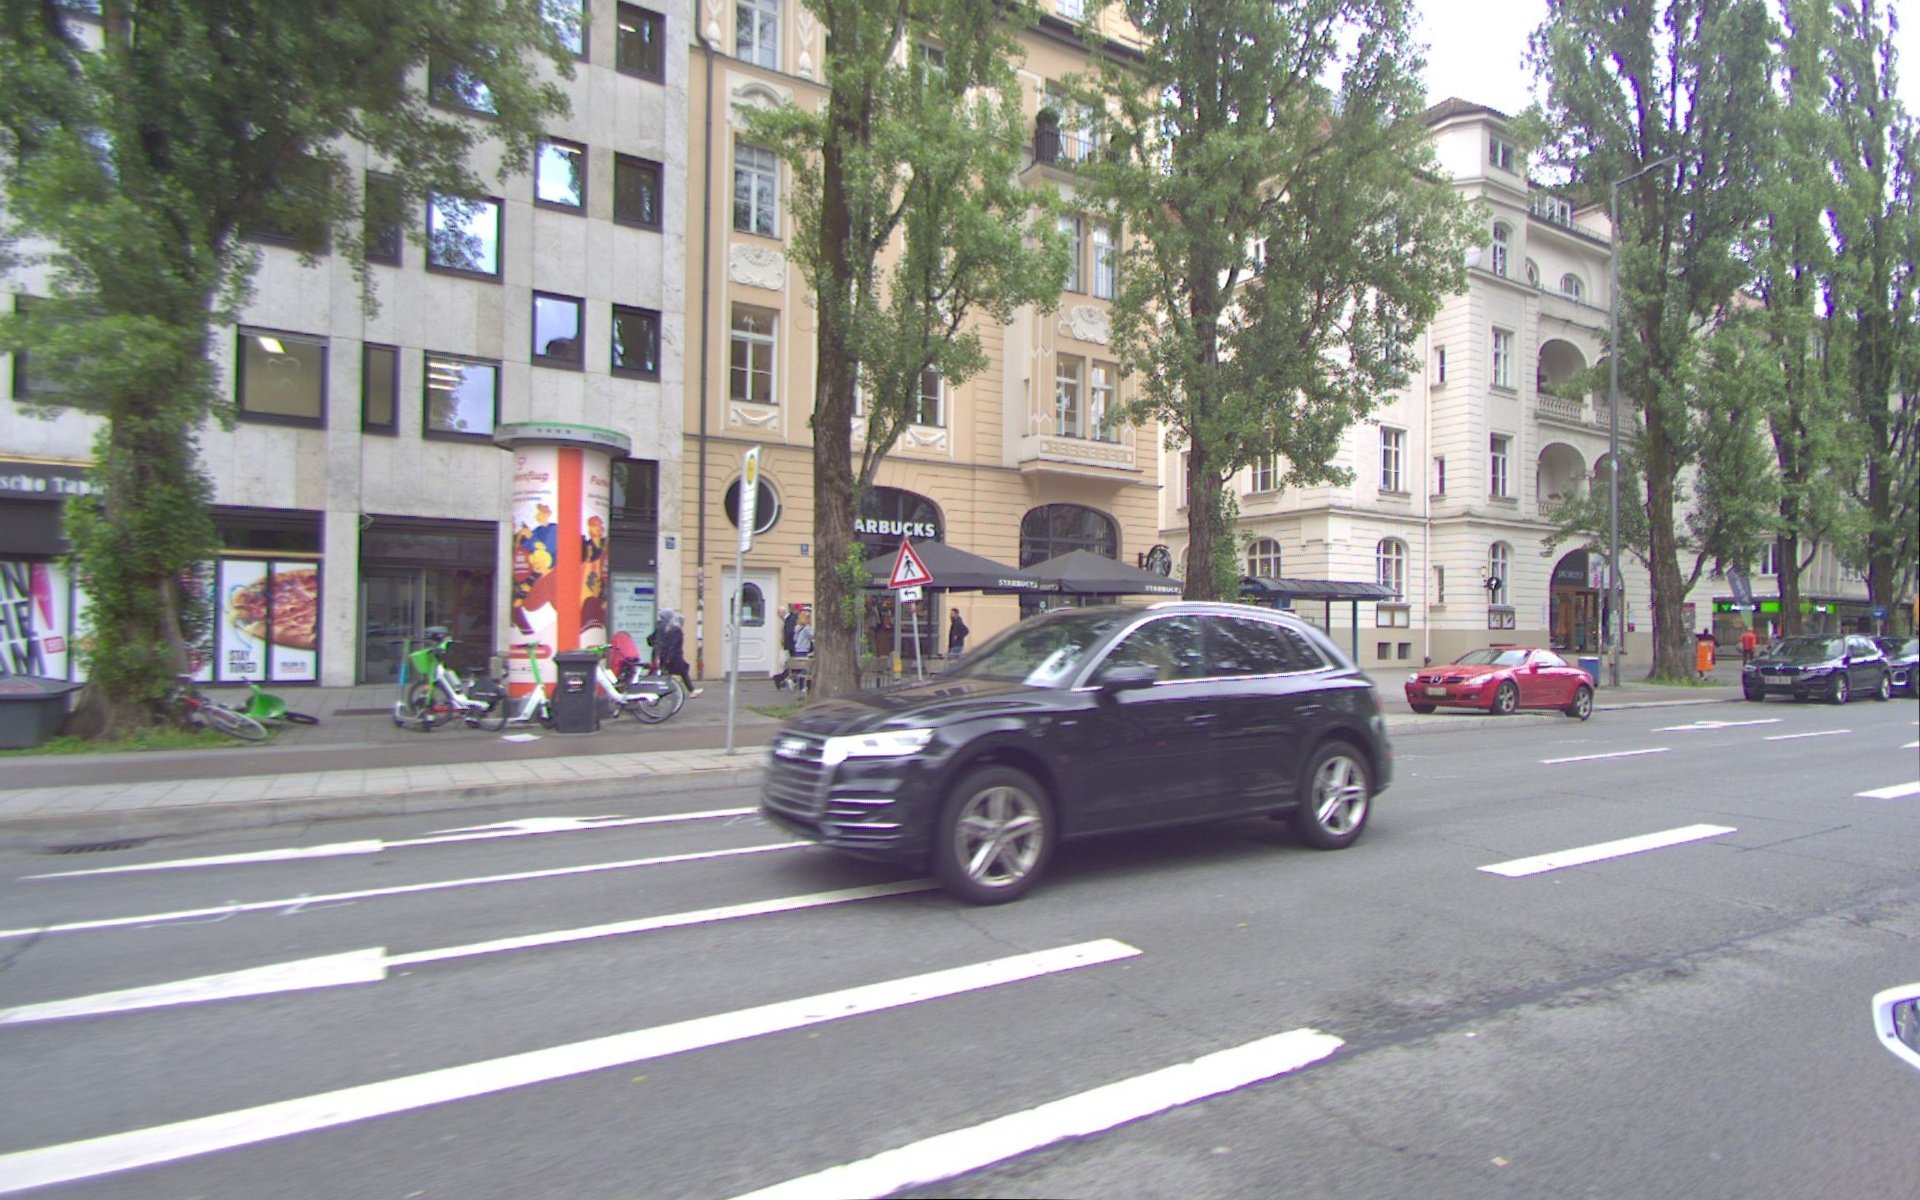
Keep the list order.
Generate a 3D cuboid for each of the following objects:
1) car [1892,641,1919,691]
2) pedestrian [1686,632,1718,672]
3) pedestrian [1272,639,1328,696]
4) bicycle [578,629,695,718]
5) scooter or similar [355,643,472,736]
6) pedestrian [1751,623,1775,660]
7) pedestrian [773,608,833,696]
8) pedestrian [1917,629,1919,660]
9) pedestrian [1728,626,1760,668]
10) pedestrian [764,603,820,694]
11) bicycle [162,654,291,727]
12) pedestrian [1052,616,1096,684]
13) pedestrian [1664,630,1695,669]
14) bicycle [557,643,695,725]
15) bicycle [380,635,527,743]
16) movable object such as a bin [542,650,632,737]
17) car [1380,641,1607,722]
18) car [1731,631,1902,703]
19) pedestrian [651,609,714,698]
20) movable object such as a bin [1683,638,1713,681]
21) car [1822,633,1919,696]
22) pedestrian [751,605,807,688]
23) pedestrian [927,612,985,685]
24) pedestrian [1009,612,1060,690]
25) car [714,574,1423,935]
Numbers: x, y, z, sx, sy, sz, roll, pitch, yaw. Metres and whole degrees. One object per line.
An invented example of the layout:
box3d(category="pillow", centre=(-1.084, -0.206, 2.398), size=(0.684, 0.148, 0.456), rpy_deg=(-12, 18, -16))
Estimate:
box3d(category="car", centre=(29.926, 1.972, 30.285), size=(4.640, 1.442, 1.674), rpy_deg=(2, -4, -34))
box3d(category="pedestrian", centre=(29.554, 2.070, 40.012), size=(0.795, 1.558, 0.764), rpy_deg=(2, 0, -31))
box3d(category="pedestrian", centre=(7.916, 1.558, 23.396), size=(0.748, 1.273, 0.957), rpy_deg=(1, 0, -29))
box3d(category="bicycle", centre=(-5.139, 1.139, 15.916), size=(1.919, 1.318, 0.584), rpy_deg=(0, -1, 29))
box3d(category="scooter or similar", centre=(-7.077, 1.142, 12.995), size=(1.531, 1.128, 0.389), rpy_deg=(0, -1, 20))
box3d(category="pedestrian", centre=(37.634, 1.947, 47.084), size=(0.817, 1.744, 0.622), rpy_deg=(1, -1, -31))
box3d(category="pedestrian", centre=(-3.166, 1.025, 20.234), size=(0.966, 1.704, 0.728), rpy_deg=(1, 0, -31))
box3d(category="pedestrian", centre=(56.018, 2.579, 58.005), size=(1.134, 1.767, 0.848), rpy_deg=(1, -1, -30))
box3d(category="pedestrian", centre=(32.101, 1.902, 41.122), size=(0.941, 1.695, 0.730), rpy_deg=(1, -1, -31))
box3d(category="pedestrian", centre=(-3.495, 0.992, 20.865), size=(0.901, 1.811, 0.796), rpy_deg=(1, 1, -30))
box3d(category="bicycle", centre=(-9.308, 1.132, 12.724), size=(1.926, 0.515, 0.830), rpy_deg=(2, -22, 42))
box3d(category="pedestrian", centre=(3.047, 1.324, 26.798), size=(0.809, 1.767, 0.903), rpy_deg=(1, -1, -25))
box3d(category="pedestrian", centre=(29.129, 2.010, 40.676), size=(0.795, 1.557, 0.765), rpy_deg=(1, -2, -31))
box3d(category="bicycle", centre=(-4.771, 1.202, 14.418), size=(1.776, 1.102, 0.507), rpy_deg=(2, 0, -7))
box3d(category="bicycle", centre=(-6.788, 1.168, 13.460), size=(1.915, 1.307, 0.508), rpy_deg=(2, 0, 17))
box3d(category="movable object such as a bin", centre=(-4.941, 1.212, 13.325), size=(0.712, 1.055, 0.854), rpy_deg=(2, 0, 31))
box3d(category="car", centre=(9.923, 1.445, 18.643), size=(4.045, 1.315, 1.871), rpy_deg=(1, -2, -29))
box3d(category="car", centre=(21.309, 1.595, 24.946), size=(4.661, 1.639, 1.811), rpy_deg=(1, -2, -31))
box3d(category="pedestrian", centre=(-5.138, 0.973, 18.598), size=(0.976, 1.588, 0.748), rpy_deg=(2, 0, -26))
box3d(category="movable object such as a bin", centre=(23.569, 1.888, 32.075), size=(0.579, 1.333, 0.602), rpy_deg=(1, -1, -30))
box3d(category="car", centre=(25.712, 1.726, 27.539), size=(4.577, 1.615, 1.794), rpy_deg=(1, -2, -31))
box3d(category="pedestrian", centre=(-3.966, 1.005, 22.013), size=(0.943, 1.767, 0.840), rpy_deg=(2, 0, -30))
box3d(category="pedestrian", centre=(-0.112, 1.155, 24.308), size=(0.977, 1.707, 1.077), rpy_deg=(2, 0, -29))
box3d(category="pedestrian", centre=(1.735, 1.182, 23.441), size=(0.809, 1.767, 0.903), rpy_deg=(2, 0, -25))
box3d(category="car", centre=(0.850, 0.819, 6.763), size=(4.533, 1.702, 1.904), rpy_deg=(1, -3, -31))
